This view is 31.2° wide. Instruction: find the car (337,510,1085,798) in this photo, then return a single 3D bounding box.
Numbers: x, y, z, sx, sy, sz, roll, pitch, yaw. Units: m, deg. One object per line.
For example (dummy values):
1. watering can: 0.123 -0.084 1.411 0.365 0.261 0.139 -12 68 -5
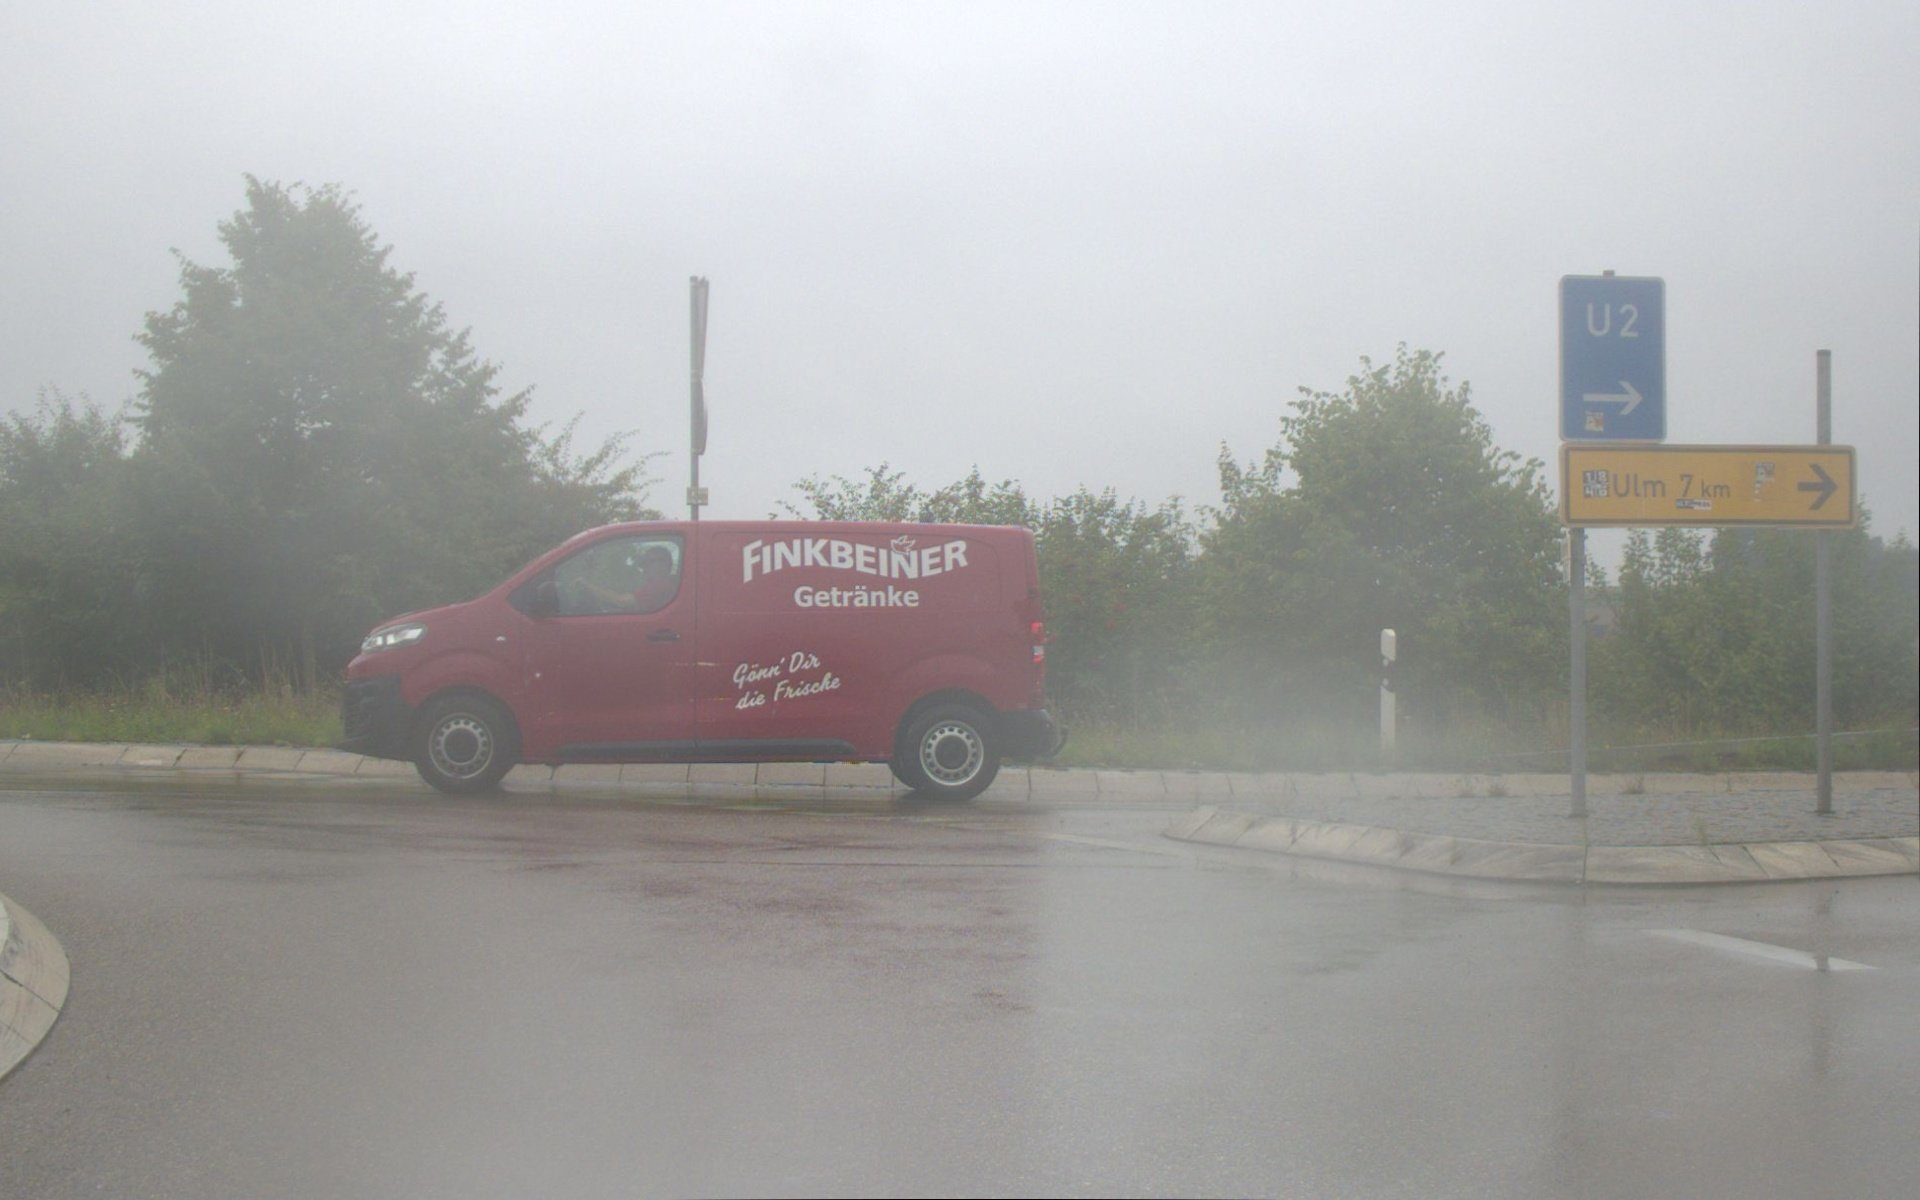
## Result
1. car: -1.757 0.370 23.960 4.961 1.864 2.000 1 0 -7
